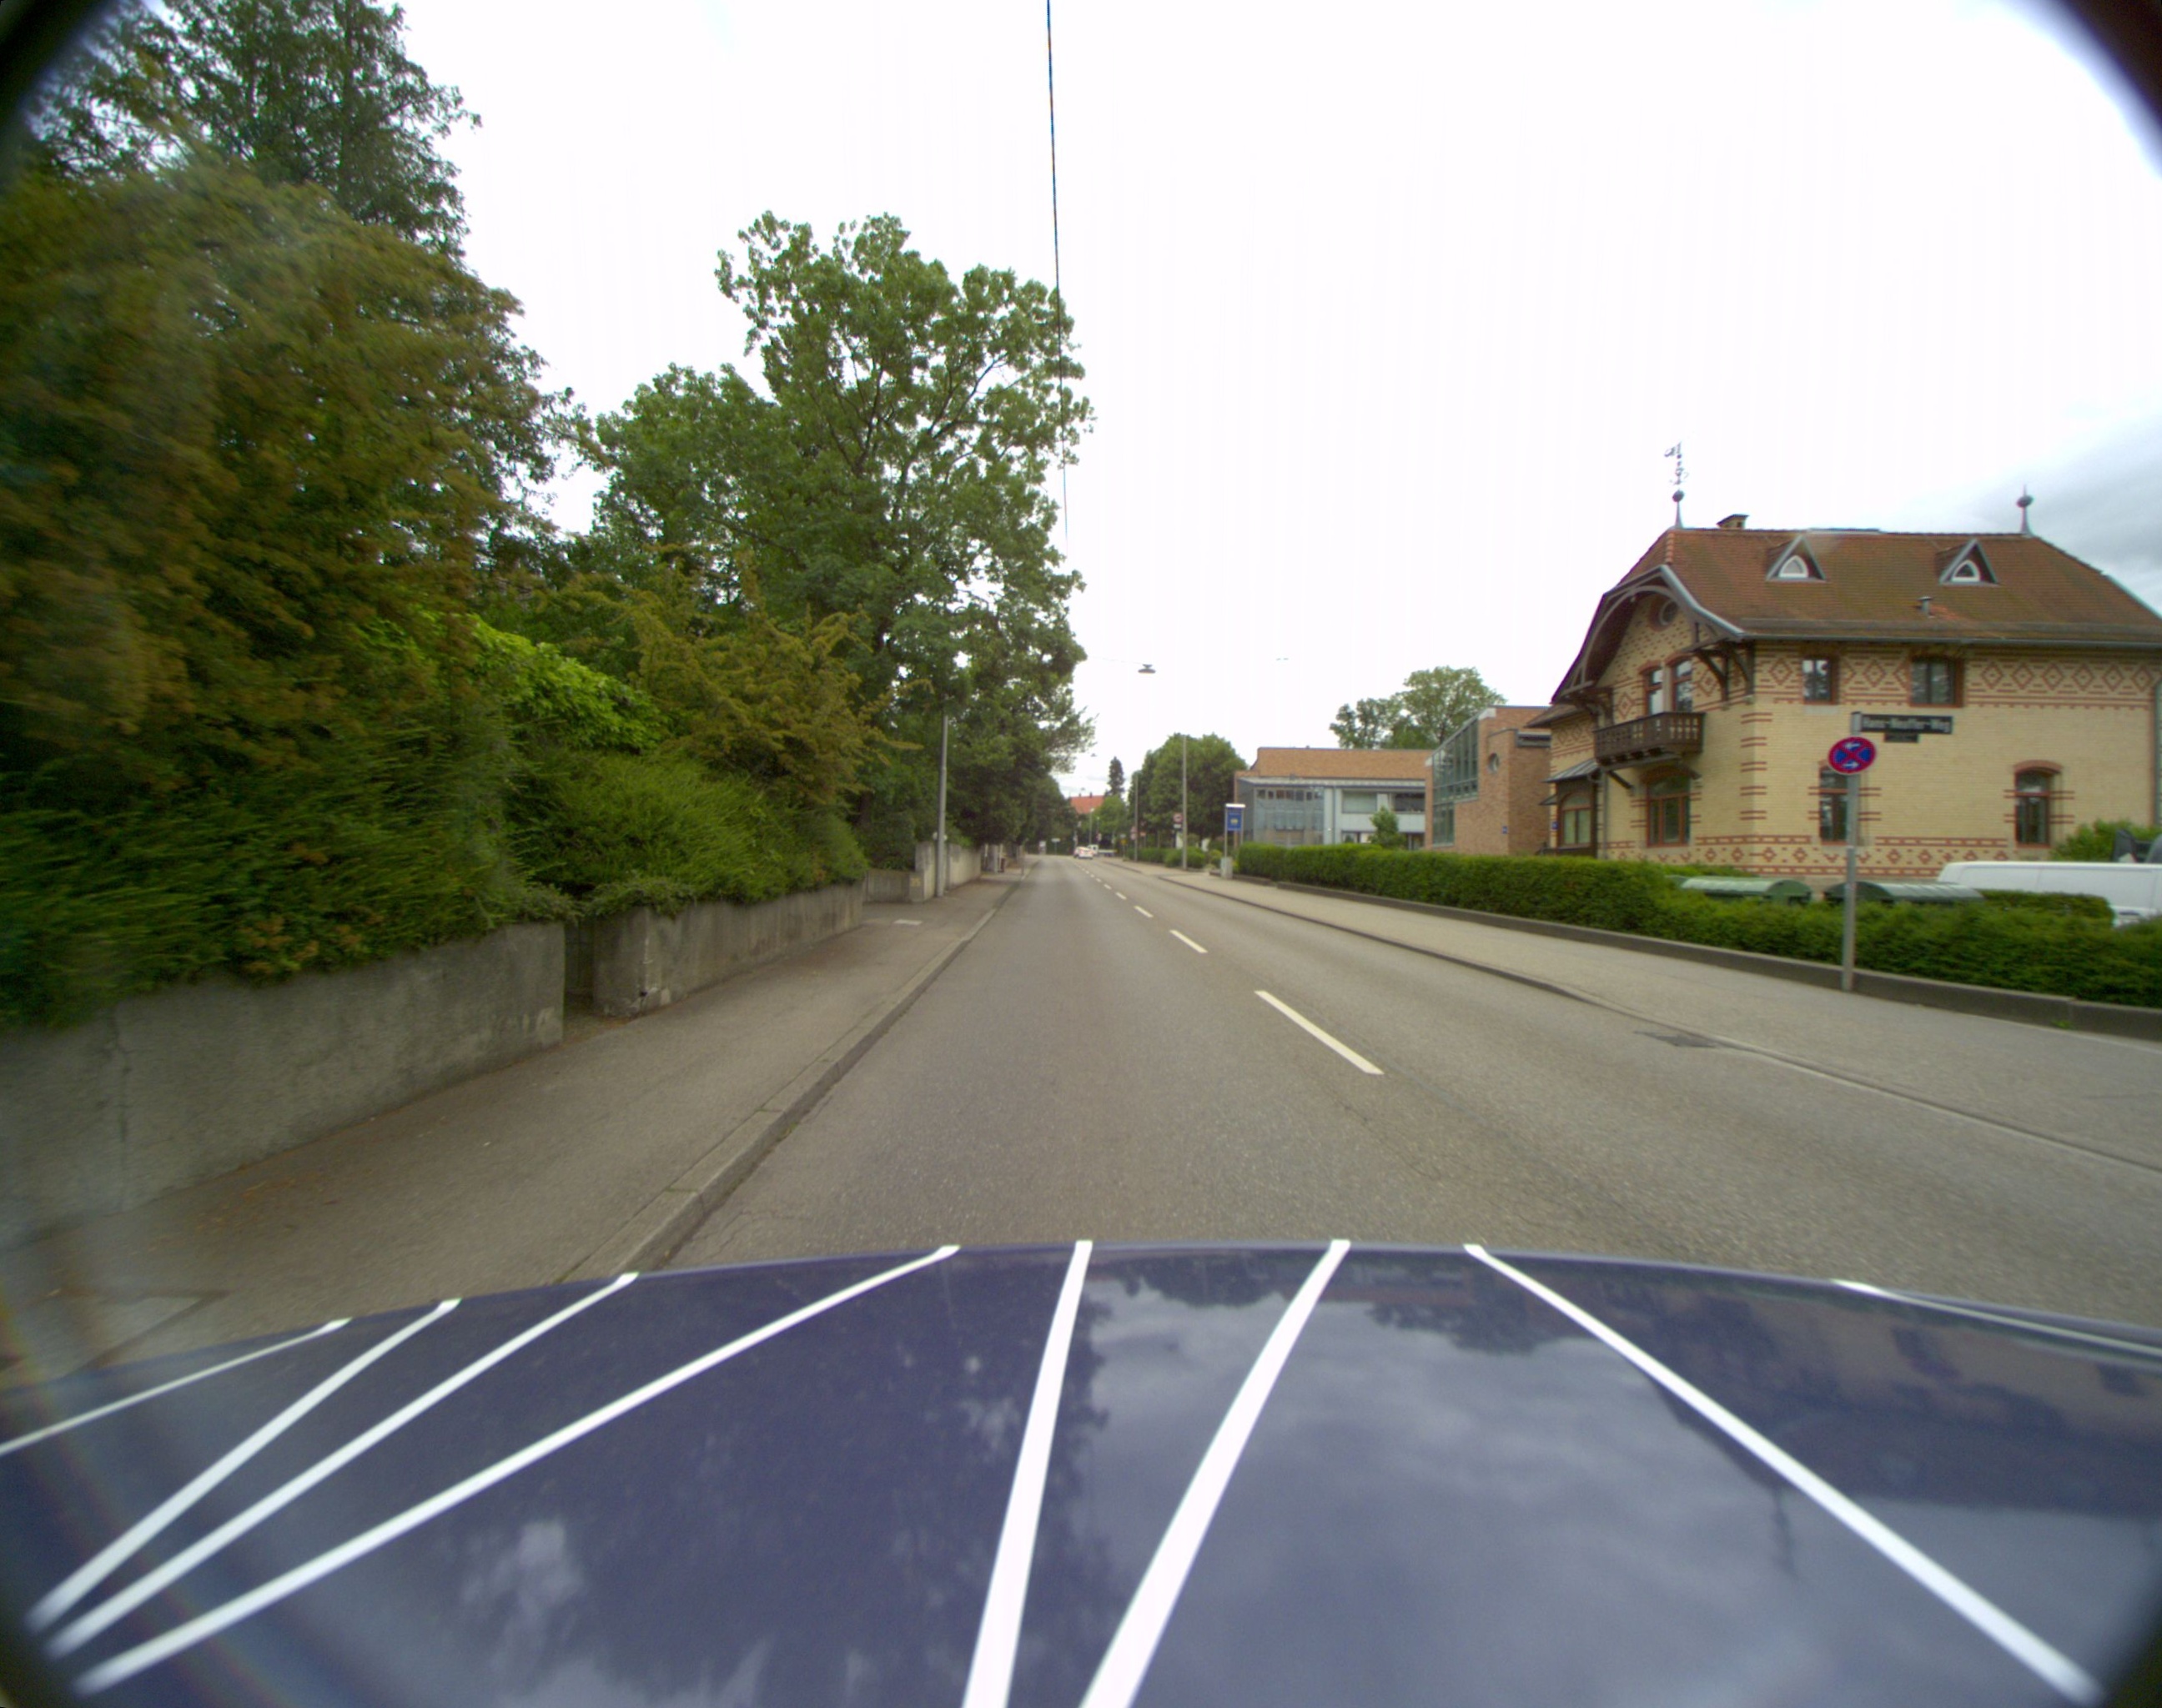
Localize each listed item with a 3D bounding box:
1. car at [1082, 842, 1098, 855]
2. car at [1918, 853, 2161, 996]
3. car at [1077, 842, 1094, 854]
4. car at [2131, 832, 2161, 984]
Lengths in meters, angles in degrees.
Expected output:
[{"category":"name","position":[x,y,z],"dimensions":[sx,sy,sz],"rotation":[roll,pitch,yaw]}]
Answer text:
[{"category":"car","position":[1.181,-0.754,102.222],"dimensions":[1.999,1.701,3.999],"rotation":[1,1,-2]},{"category":"car","position":[16.669,1.060,11.764],"dimensions":[1.895,2.058,4.610],"rotation":[1,1,-12]},{"category":"car","position":[0.632,-0.882,108.927],"dimensions":[2.000,1.701,3.997],"rotation":[1,1,-7]},{"category":"car","position":[20.119,0.971,10.786],"dimensions":[2.001,2.604,5.712],"rotation":[0,1,-16]}]
